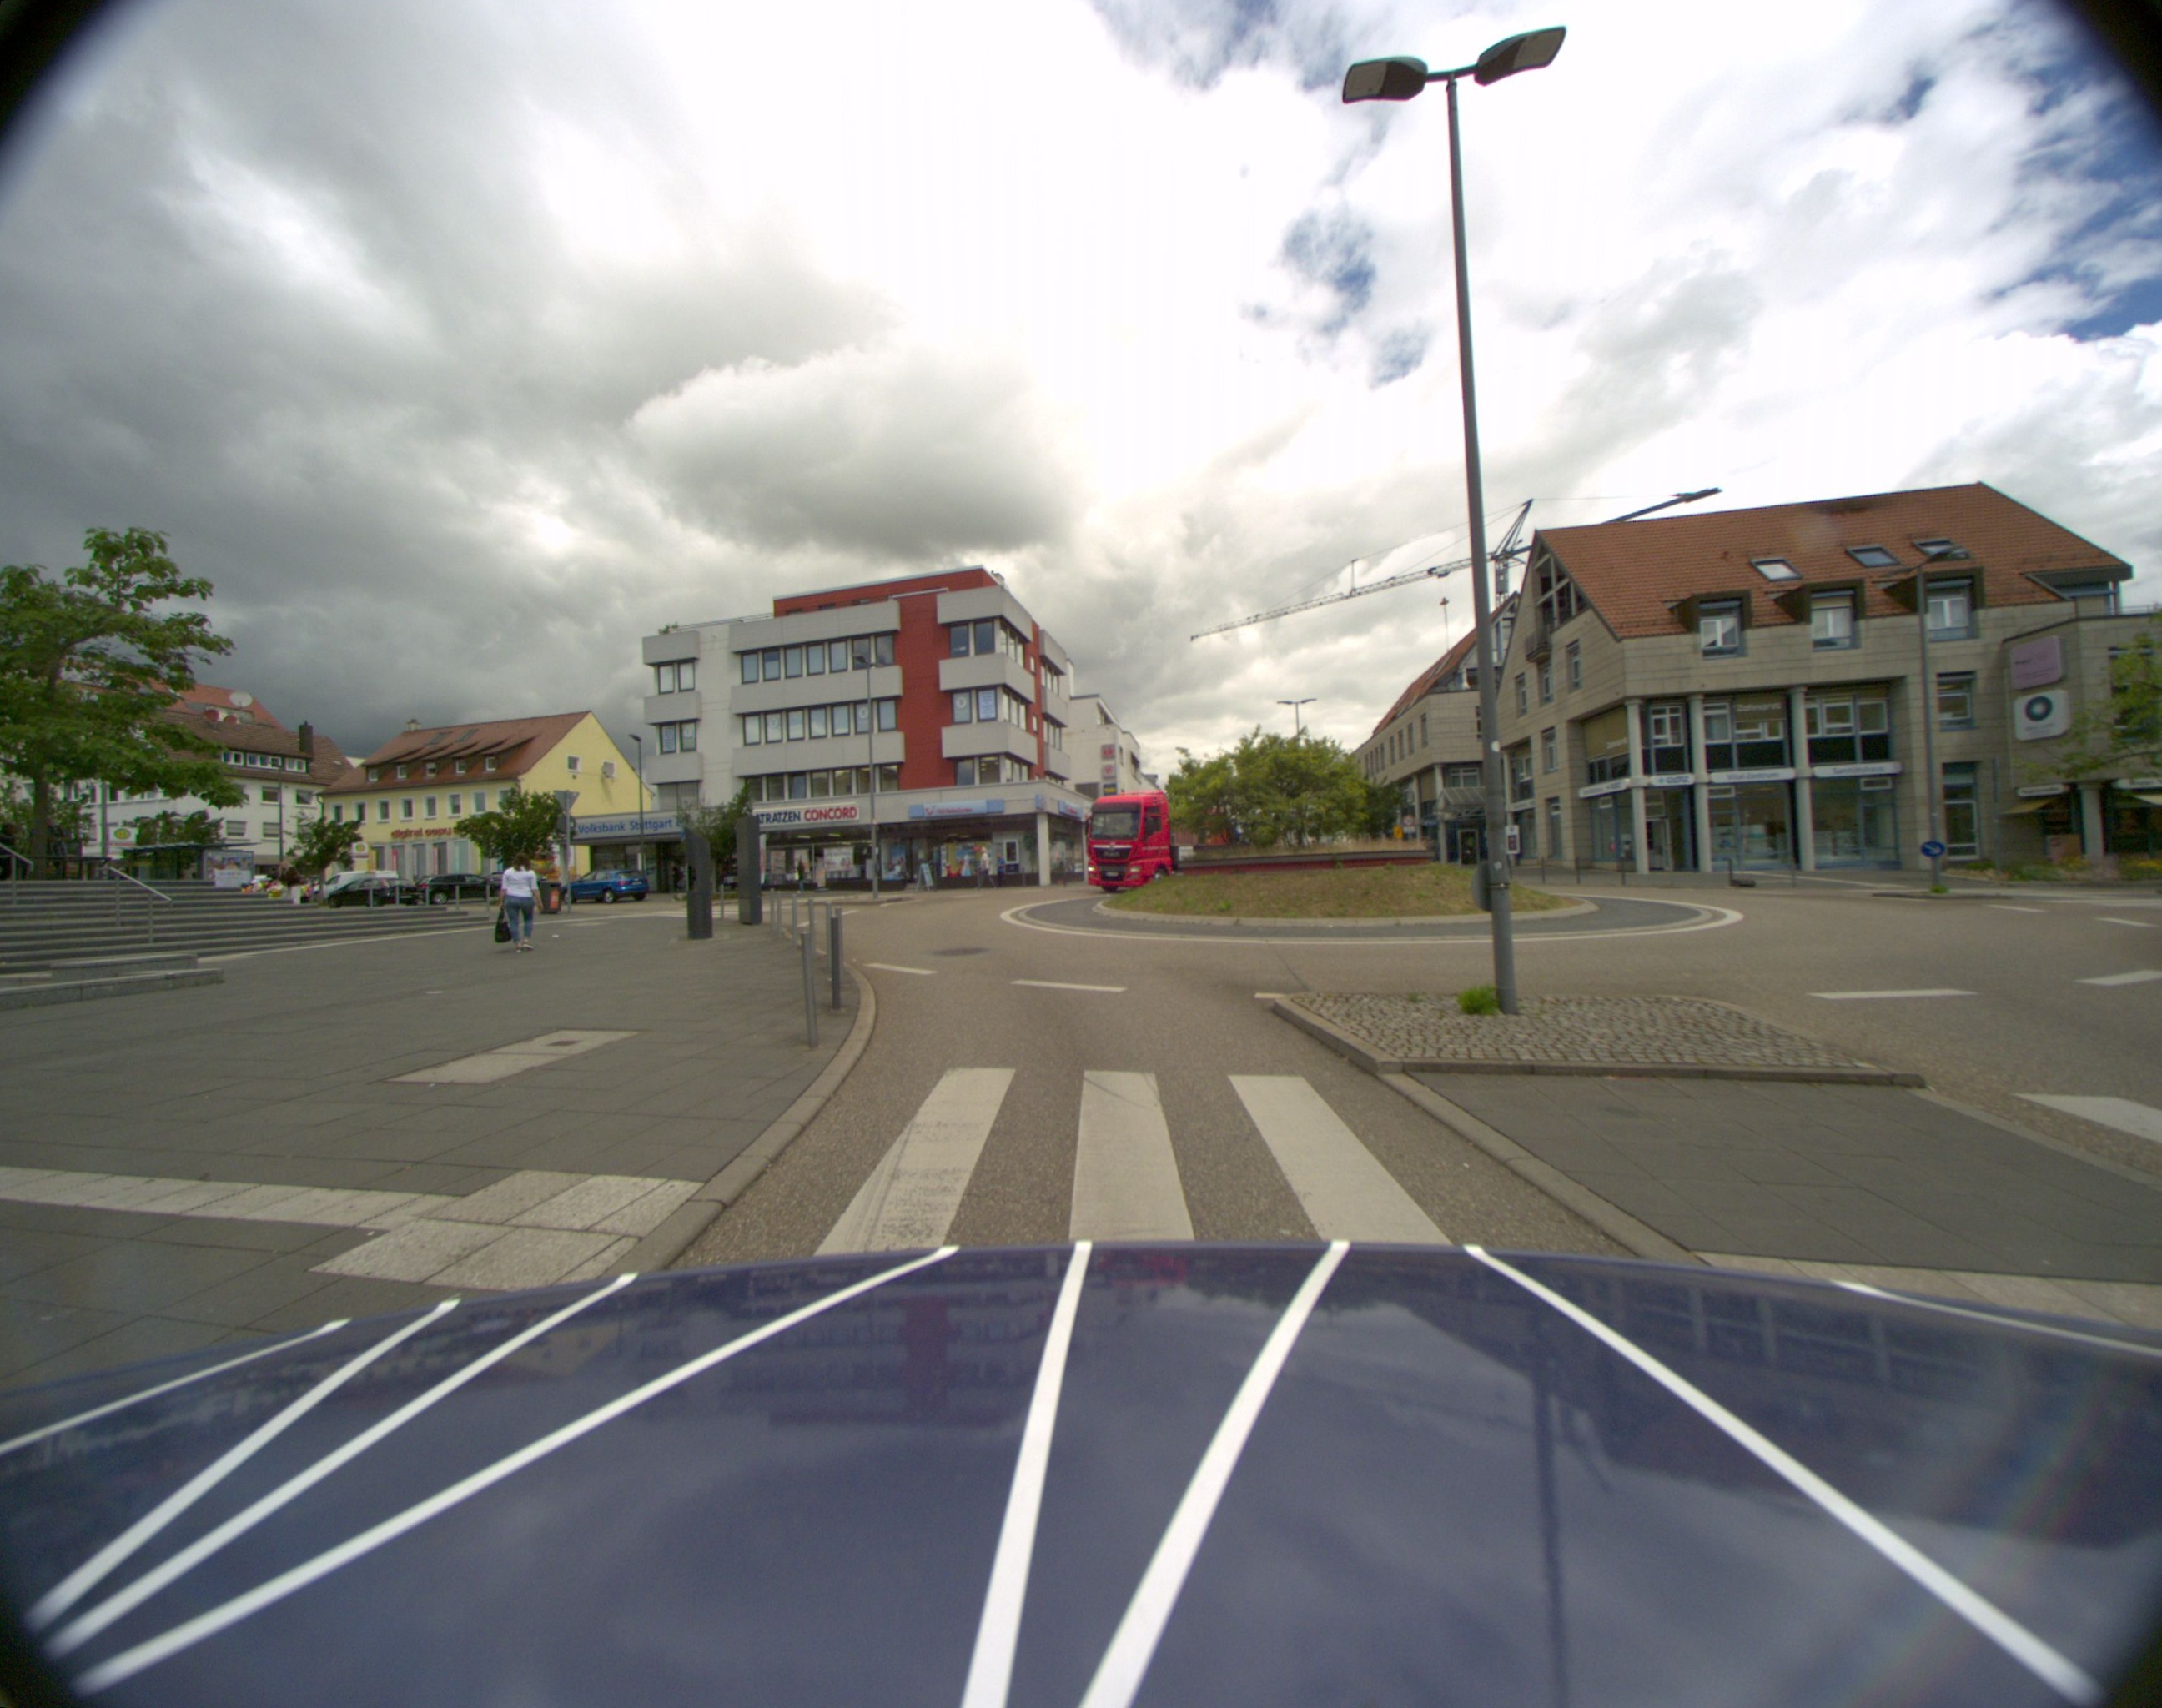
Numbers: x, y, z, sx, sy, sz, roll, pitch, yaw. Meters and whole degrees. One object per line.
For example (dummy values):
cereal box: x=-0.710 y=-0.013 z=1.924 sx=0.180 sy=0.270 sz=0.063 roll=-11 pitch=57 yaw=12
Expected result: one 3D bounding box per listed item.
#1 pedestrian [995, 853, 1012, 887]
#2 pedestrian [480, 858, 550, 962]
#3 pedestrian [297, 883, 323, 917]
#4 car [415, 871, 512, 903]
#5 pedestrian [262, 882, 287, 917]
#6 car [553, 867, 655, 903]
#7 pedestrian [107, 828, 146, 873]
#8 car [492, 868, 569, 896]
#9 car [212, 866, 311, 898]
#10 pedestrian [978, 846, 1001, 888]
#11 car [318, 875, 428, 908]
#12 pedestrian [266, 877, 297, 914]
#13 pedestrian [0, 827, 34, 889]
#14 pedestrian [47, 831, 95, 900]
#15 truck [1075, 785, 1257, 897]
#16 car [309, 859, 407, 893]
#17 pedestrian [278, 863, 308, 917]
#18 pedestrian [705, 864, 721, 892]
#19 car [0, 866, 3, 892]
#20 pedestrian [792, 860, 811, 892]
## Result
pedestrian: x=-3.663 y=0.756 z=36.014 sx=0.607 sy=1.594 sz=0.568 roll=-2 pitch=0 yaw=-23
pedestrian: x=-9.912 y=0.956 z=13.339 sx=0.707 sy=1.735 sz=0.775 roll=-1 pitch=0 yaw=-13
pedestrian: x=-26.837 y=1.585 z=26.448 sx=0.390 sy=1.165 sz=0.477 roll=-1 pitch=-3 yaw=19
car: x=-33.181 y=1.712 z=40.905 sx=1.890 sy=1.515 sz=3.743 roll=1 pitch=1 yaw=40
pedestrian: x=-26.722 y=1.518 z=25.175 sx=0.382 sy=1.141 sz=0.441 roll=-1 pitch=-2 yaw=18
car: x=-23.060 y=1.502 z=36.746 sx=4.322 sy=1.591 sz=1.701 roll=-1 pitch=2 yaw=17
pedestrian: x=-35.490 y=-0.122 z=28.267 sx=0.685 sy=1.627 sz=0.802 roll=-2 pitch=-1 yaw=29
car: x=-34.061 y=1.693 z=47.122 sx=1.665 sy=1.549 sz=3.643 roll=-1 pitch=0 yaw=14
car: x=-45.600 y=1.555 z=42.311 sx=4.343 sy=1.662 sz=1.663 roll=-1 pitch=1 yaw=11
pedestrian: x=-4.216 y=0.588 z=34.996 sx=0.679 sy=1.864 sz=0.807 roll=-2 pitch=0 yaw=28
car: x=-33.813 y=1.782 z=36.305 sx=4.112 sy=1.411 sz=1.705 roll=-1 pitch=1 yaw=11
pedestrian: x=-28.412 y=1.478 z=27.003 sx=0.600 sy=1.295 sz=0.432 roll=1 pitch=-3 yaw=-18
pedestrian: x=-22.599 y=0.088 z=16.070 sx=0.640 sy=1.277 sz=0.364 roll=-2 pitch=-1 yaw=20
pedestrian: x=-22.409 y=0.257 z=16.864 sx=0.453 sy=1.499 sz=0.505 roll=-2 pitch=-1 yaw=17
truck: x=4.032 y=-0.501 z=32.306 sx=2.959 sy=4.004 sz=10.617 roll=-1 pitch=0 yaw=35
car: x=-42.221 y=1.287 z=44.419 sx=4.470 sy=1.803 sz=1.763 roll=-1 pitch=1 yaw=9
pedestrian: x=-26.696 y=1.226 z=25.750 sx=0.434 sy=1.811 sz=0.542 roll=-2 pitch=-3 yaw=23
pedestrian: x=-22.752 y=1.496 z=46.989 sx=0.586 sy=1.694 sz=0.645 roll=-3 pitch=-2 yaw=5
car: x=-69.795 y=1.609 z=47.251 sx=4.126 sy=1.637 sz=1.672 roll=-1 pitch=1 yaw=12
pedestrian: x=-14.107 y=1.105 z=38.392 sx=0.637 sy=1.579 sz=0.589 roll=-1 pitch=1 yaw=10
